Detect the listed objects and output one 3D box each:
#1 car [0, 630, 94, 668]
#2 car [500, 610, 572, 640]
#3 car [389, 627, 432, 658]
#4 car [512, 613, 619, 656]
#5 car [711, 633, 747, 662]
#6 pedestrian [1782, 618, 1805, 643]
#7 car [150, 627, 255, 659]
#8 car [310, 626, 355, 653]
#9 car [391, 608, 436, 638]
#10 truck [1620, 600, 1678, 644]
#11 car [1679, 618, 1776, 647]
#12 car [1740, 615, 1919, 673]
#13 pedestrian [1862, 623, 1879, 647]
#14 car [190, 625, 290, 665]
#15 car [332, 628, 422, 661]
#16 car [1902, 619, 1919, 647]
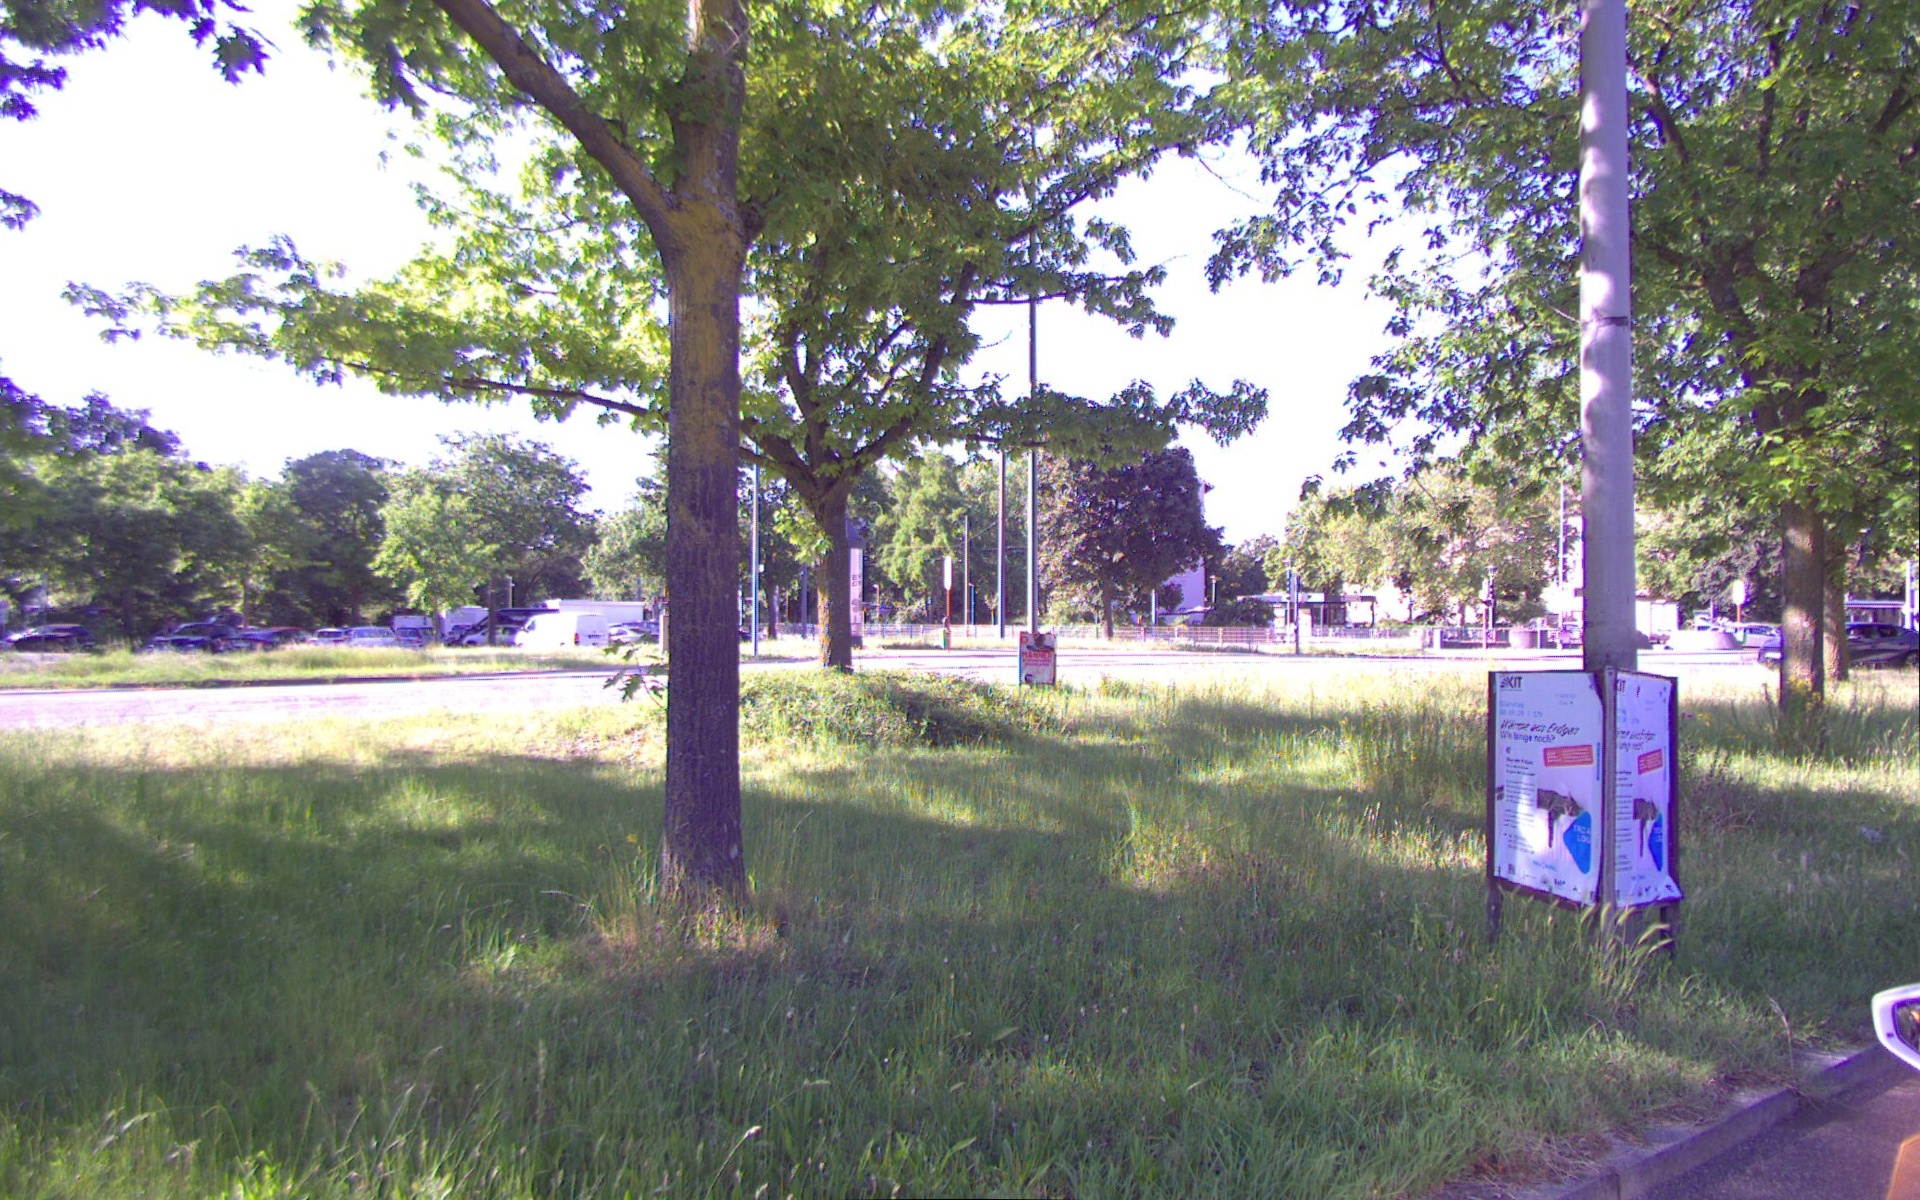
[{"bbox_3d":[-47.660,2.495,51.907,1.966,1.817,3.990,0,-1,32],"label":"car"},{"bbox_3d":[-24.130,1.412,57.292,3.698,1.691,1.883,1,-1,-23],"label":"car"},{"bbox_3d":[-26.702,2.027,48.781,1.602,1.438,3.050,1,-1,-33],"label":"car"},{"bbox_3d":[-17.219,1.474,43.803,4.670,1.762,2.024,0,-1,34],"label":"car"},{"bbox_3d":[-12.031,2.453,52.490,1.589,1.438,3.073,0,-1,-8],"label":"car"},{"bbox_3d":[53.573,1.965,64.548,0.781,1.629,0.923,0,-1,9],"label":"pedestrian"},{"bbox_3d":[-26.843,1.503,35.631,1.315,1.078,2.777,-1,-1,42],"label":"car"},{"bbox_3d":[-29.295,1.824,46.868,1.603,1.194,3.047,1,-1,-35],"label":"car"},{"bbox_3d":[-32.489,1.364,59.789,1.865,1.691,3.733,1,-1,-22],"label":"car"},{"bbox_3d":[46.640,1.477,68.093,1.960,2.842,4.002,0,-1,15],"label":"truck"},{"bbox_3d":[46.906,1.964,61.468,4.233,1.706,2.001,0,-1,9],"label":"car"},{"bbox_3d":[26.618,1.318,30.535,4.371,1.669,1.833,0,-1,1],"label":"car"},{"bbox_3d":[53.762,2.043,59.314,0.614,1.409,0.416,0,-1,-3],"label":"pedestrian"},{"bbox_3d":[-25.234,1.562,35.247,2.769,1.323,1.326,1,-1,-40],"label":"car"},{"bbox_3d":[-21.827,1.633,37.637,2.769,1.171,1.326,1,-1,-40],"label":"car"},{"bbox_3d":[71.862,2.395,73.358,1.910,2.040,4.155,1,-1,-31],"label":"car"}]
